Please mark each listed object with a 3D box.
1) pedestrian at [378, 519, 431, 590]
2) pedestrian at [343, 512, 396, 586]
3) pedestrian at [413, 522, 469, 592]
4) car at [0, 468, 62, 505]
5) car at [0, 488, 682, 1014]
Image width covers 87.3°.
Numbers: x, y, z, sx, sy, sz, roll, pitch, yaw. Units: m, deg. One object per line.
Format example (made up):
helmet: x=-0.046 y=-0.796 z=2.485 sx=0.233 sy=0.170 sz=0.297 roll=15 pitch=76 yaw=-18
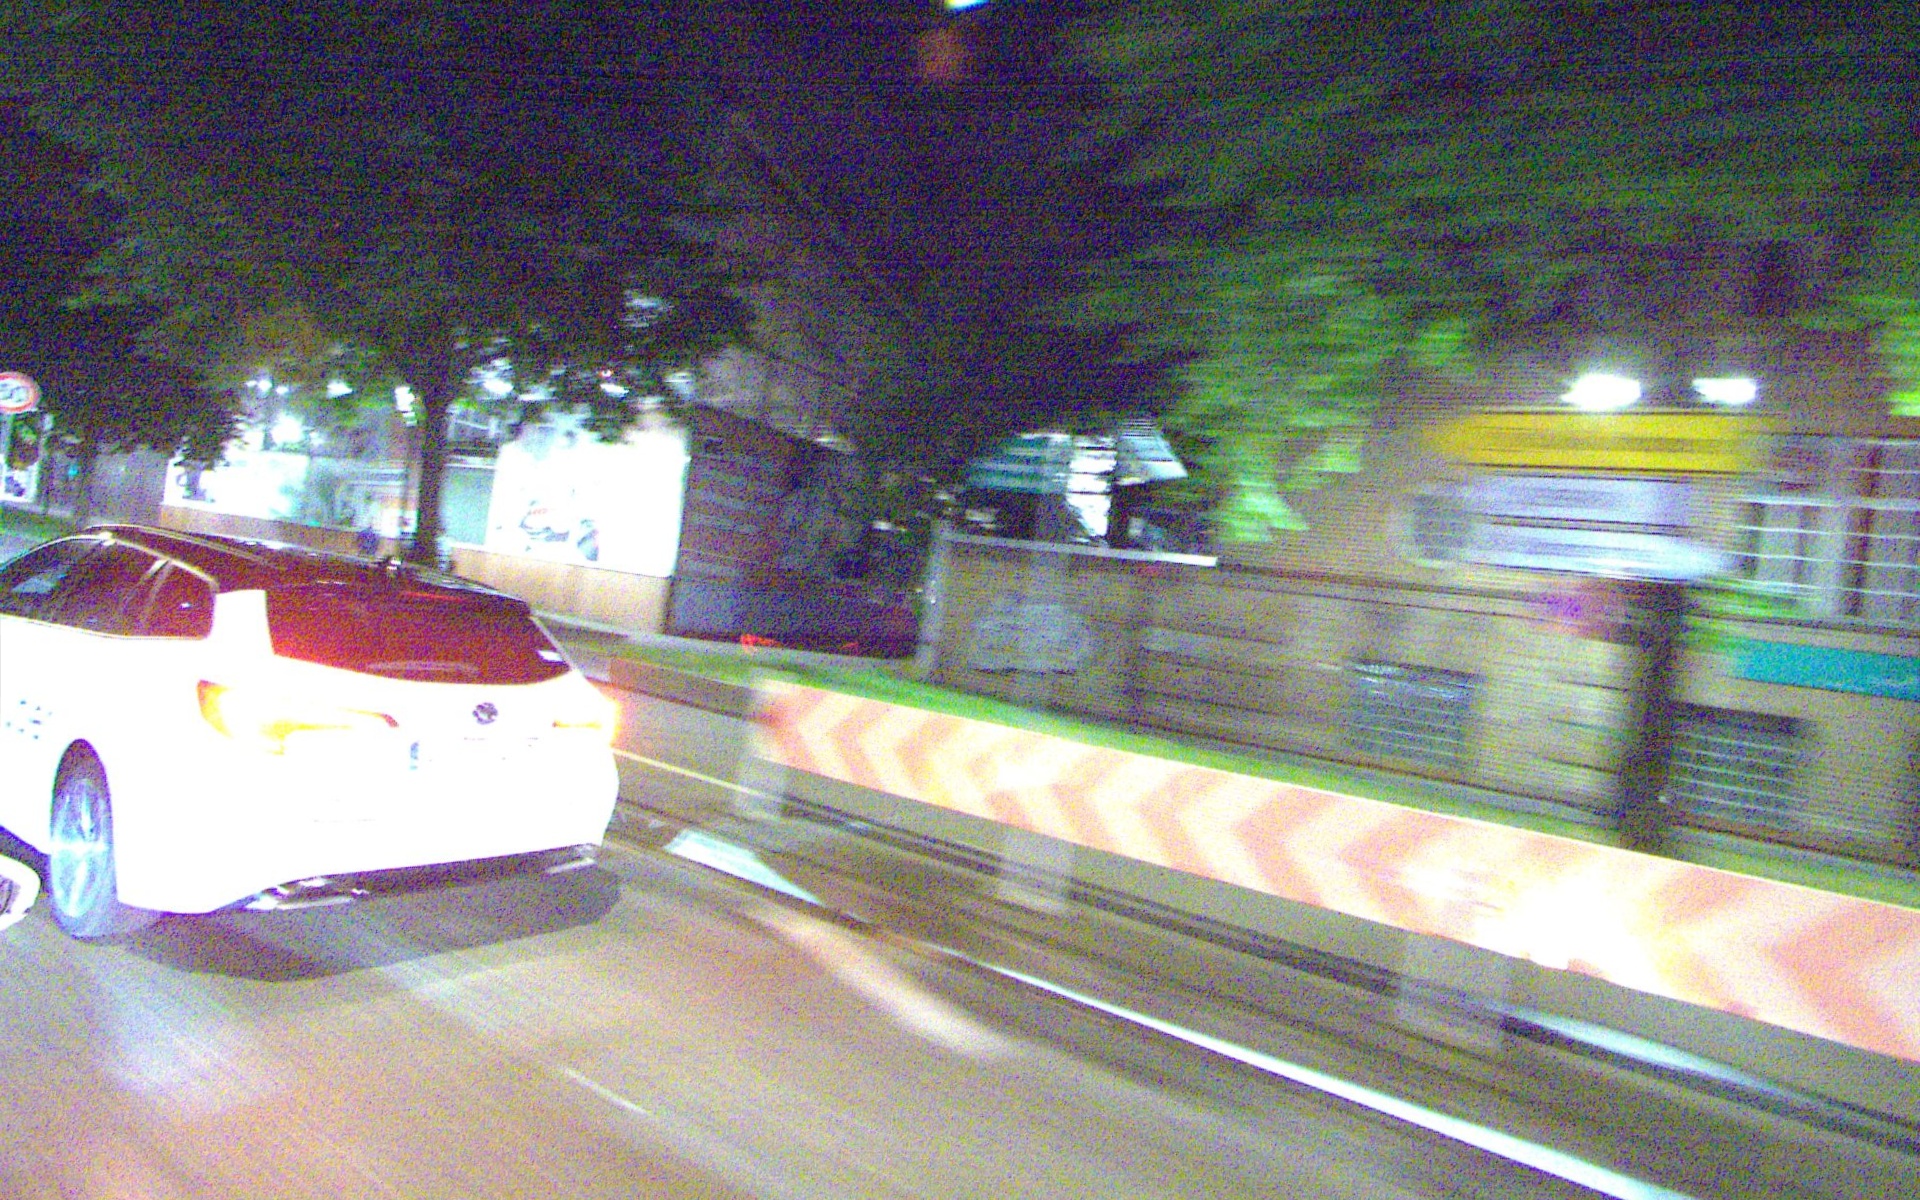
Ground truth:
pedestrian: x=-15.061 y=-1.229 z=27.282 sx=0.892 sy=1.791 sz=0.739 roll=8 pitch=1 yaw=32
pedestrian: x=-15.540 y=-1.347 z=26.463 sx=0.892 sy=1.791 sz=0.715 roll=8 pitch=1 yaw=32
pedestrian: x=-14.619 y=-1.200 z=28.329 sx=0.892 sy=1.791 sz=0.902 roll=8 pitch=1 yaw=32
car: x=-50.840 y=-6.201 z=54.961 sx=3.767 sy=1.506 sz=1.575 roll=8 pitch=1 yaw=32
car: x=-3.512 y=0.375 z=4.825 sx=4.141 sy=1.451 sz=1.733 roll=8 pitch=-2 yaw=33
